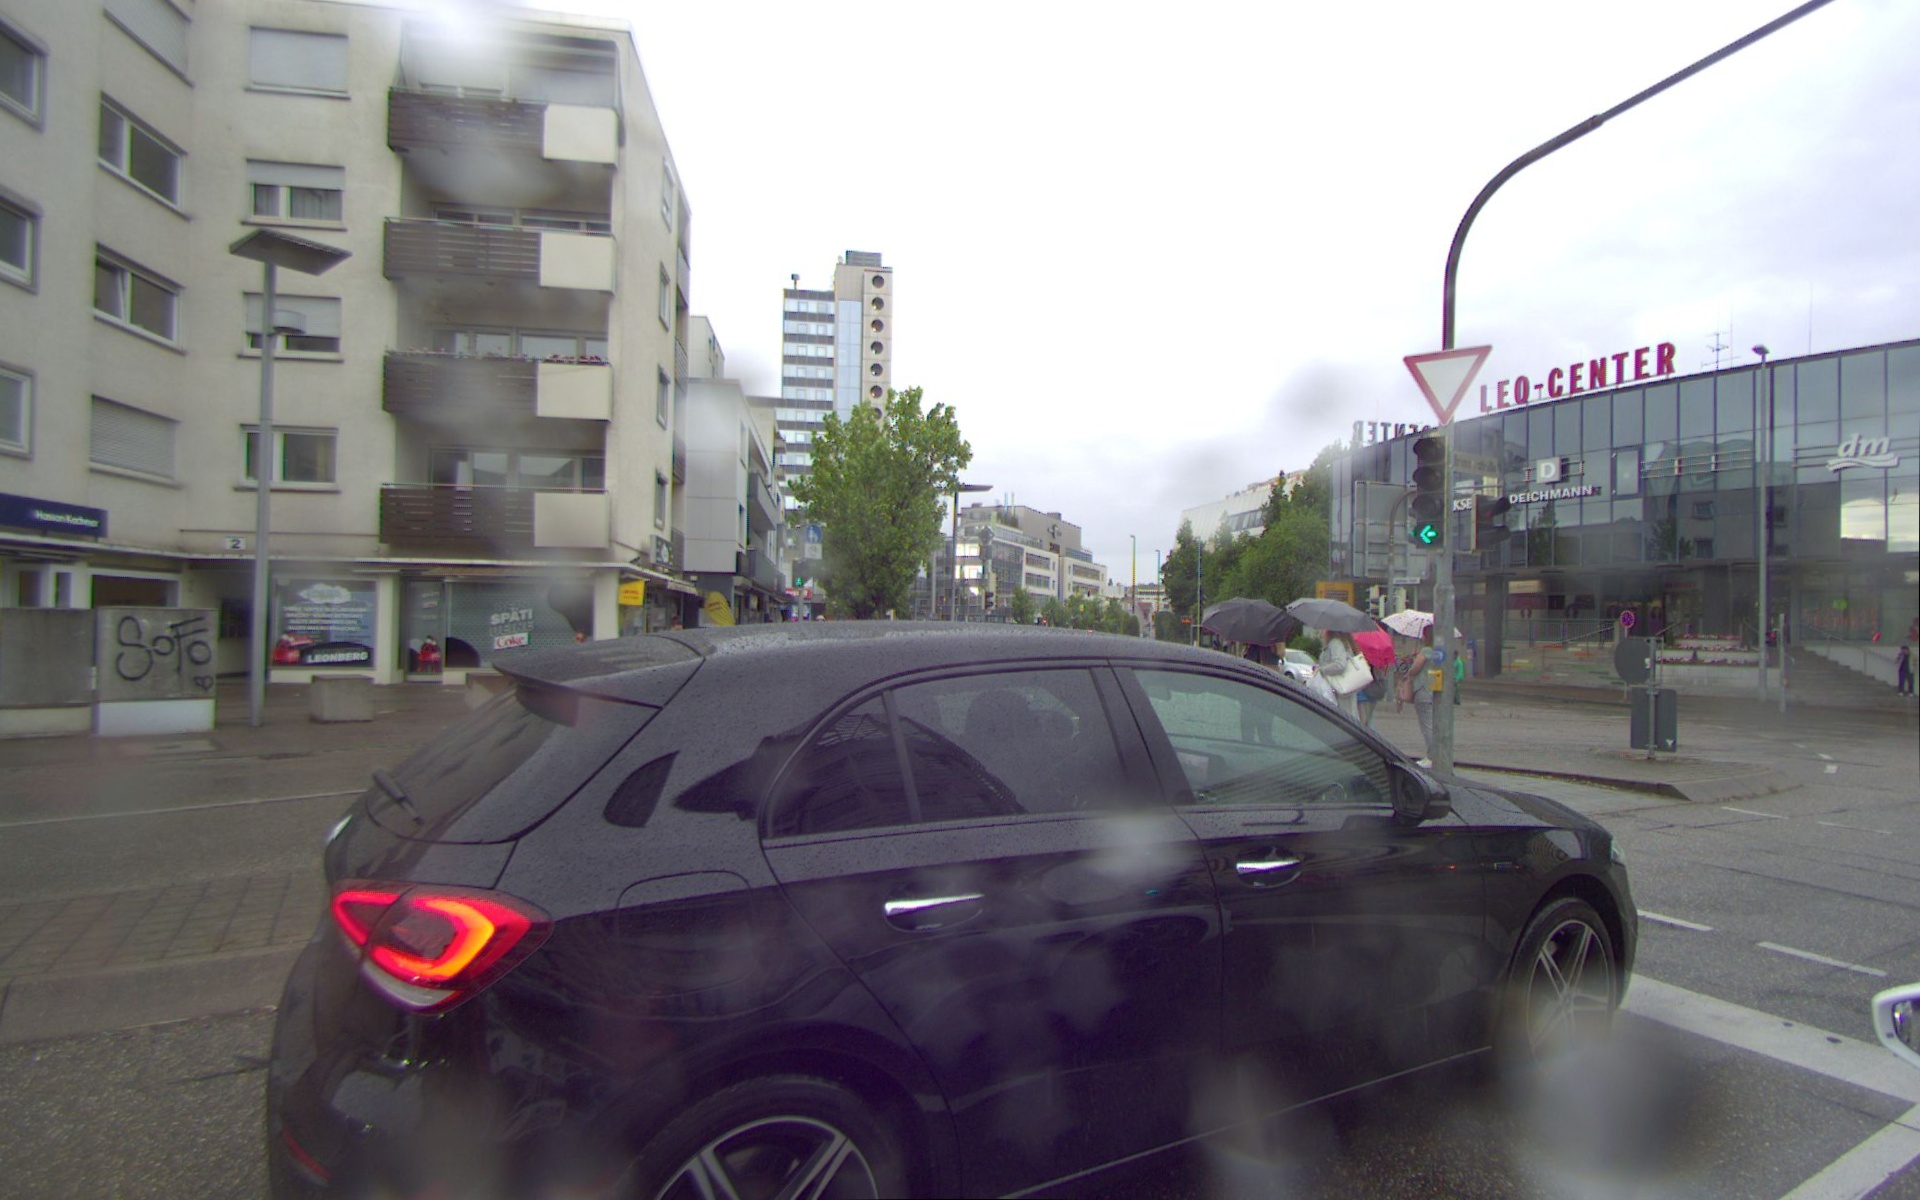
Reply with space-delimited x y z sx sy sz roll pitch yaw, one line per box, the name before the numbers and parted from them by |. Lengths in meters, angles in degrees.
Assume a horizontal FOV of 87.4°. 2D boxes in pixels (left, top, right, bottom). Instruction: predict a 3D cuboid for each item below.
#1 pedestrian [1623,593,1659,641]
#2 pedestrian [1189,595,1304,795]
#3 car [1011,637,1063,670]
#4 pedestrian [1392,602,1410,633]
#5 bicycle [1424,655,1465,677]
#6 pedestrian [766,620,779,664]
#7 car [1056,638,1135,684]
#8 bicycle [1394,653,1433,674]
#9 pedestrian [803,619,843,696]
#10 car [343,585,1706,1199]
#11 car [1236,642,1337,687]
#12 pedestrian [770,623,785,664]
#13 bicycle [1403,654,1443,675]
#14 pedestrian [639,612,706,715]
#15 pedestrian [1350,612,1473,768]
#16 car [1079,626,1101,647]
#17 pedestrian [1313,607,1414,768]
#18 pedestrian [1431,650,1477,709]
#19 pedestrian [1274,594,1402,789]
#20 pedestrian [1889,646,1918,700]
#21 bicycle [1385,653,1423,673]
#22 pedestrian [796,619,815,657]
pedestrian | 29.740 0.743 43.890 0.936 2.040 0.830 2 0 -14
pedestrian | 2.700 0.854 9.432 0.935 1.759 0.836 0 -2 22
car | 3.452 2.406 45.567 1.415 1.314 3.770 2 -1 -11
pedestrian | 25.155 0.998 57.310 0.642 1.736 0.599 2 0 -6
bicycle | 24.376 3.310 50.539 1.822 1.036 0.631 0 -2 -12
pedestrian | -7.632 1.707 40.915 0.441 1.746 0.499 1 -2 -12
car | 4.718 2.108 35.713 2.082 1.432 5.147 3 -2 0
bicycle | 23.873 3.351 52.861 1.822 1.047 0.628 -1 -2 -12
pedestrian | -3.060 1.277 22.527 0.799 1.677 0.714 1 -2 -4
car | 0.453 0.755 3.151 4.048 1.501 1.654 1 0 -32
car | 12.105 2.371 37.495 1.717 1.460 3.980 2 -1 -15
pedestrian | -8.189 1.934 45.137 0.557 1.817 0.491 1 -2 -4
bicycle | 24.027 3.346 52.119 1.822 1.056 0.646 -1 -2 -12
pedestrian | -4.648 1.017 16.219 0.902 1.606 0.653 2 -2 -26
pedestrian | 5.205 1.008 11.601 0.906 1.699 0.931 2 -2 -30
car | 12.400 3.474 95.952 2.008 1.921 4.141 1 -1 6
pedestrian | 4.467 0.958 11.138 0.794 1.707 0.671 2 -2 -19
pedestrian | 14.232 2.268 28.978 0.794 1.644 0.951 1 -2 -7
pedestrian | 3.652 0.858 9.803 0.843 1.767 1.139 1 -2 3
pedestrian | 34.357 2.651 36.584 0.589 1.933 0.651 2 -1 -38
bicycle | 23.643 3.356 53.527 1.821 0.964 0.535 -1 0 -9
pedestrian | -7.754 1.907 50.289 0.859 1.835 0.923 2 -2 -10
